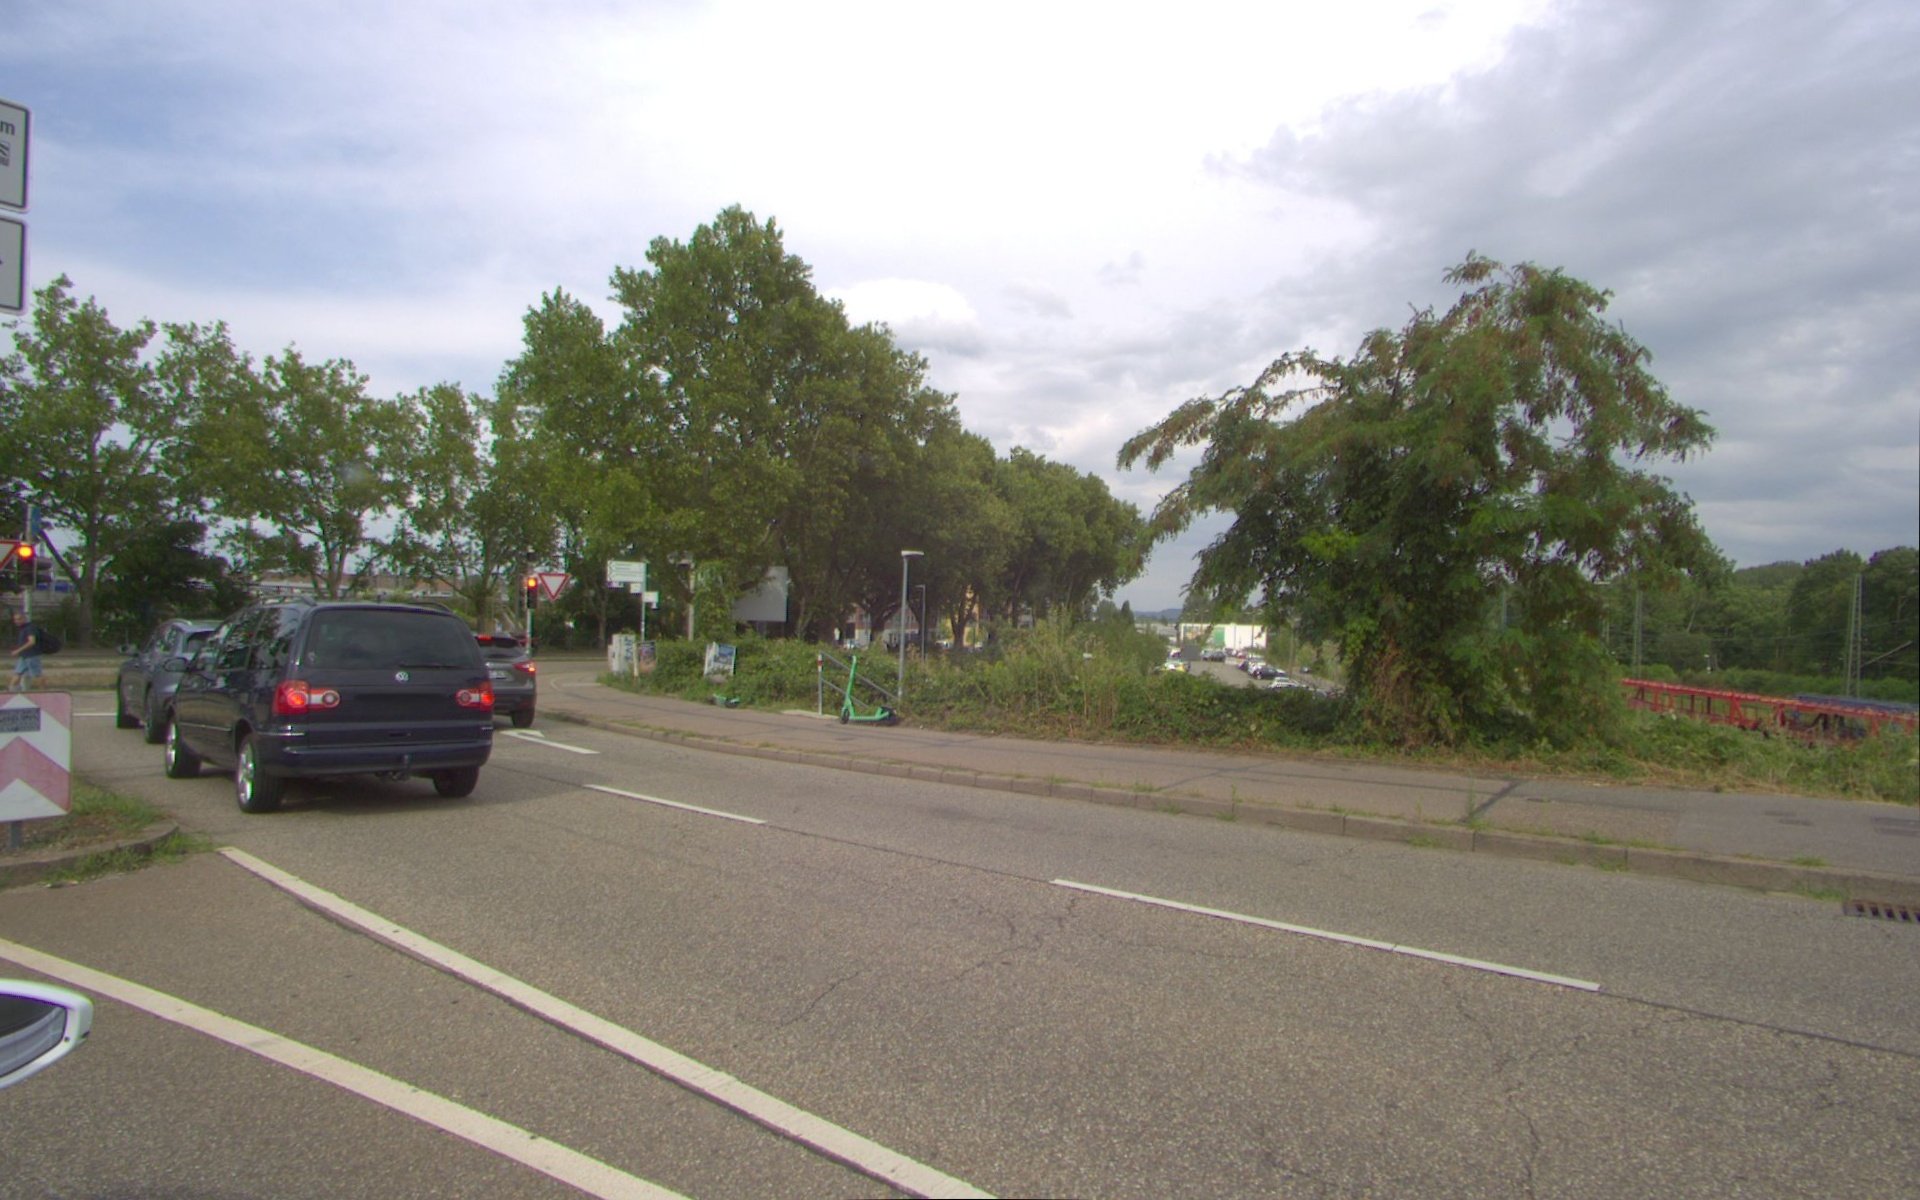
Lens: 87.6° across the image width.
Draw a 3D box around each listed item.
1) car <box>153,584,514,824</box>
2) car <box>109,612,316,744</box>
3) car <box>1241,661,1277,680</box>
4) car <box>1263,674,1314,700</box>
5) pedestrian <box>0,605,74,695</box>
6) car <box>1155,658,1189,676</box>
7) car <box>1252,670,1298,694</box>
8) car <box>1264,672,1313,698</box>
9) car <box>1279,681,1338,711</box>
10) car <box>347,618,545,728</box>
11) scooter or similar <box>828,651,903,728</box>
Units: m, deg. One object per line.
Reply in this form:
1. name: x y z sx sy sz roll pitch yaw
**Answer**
1. car: -5.970 0.849 9.348 4.092 1.746 1.743 -1 -4 42
2. car: -10.731 1.047 14.268 4.113 1.604 1.682 -2 -4 44
3. car: 35.736 8.413 119.751 3.923 2.040 1.762 1 -1 10
4. car: 28.644 7.583 87.343 3.923 2.040 1.762 1 -1 10
5. pedestrian: -18.306 0.980 19.833 1.039 1.732 0.846 3 -2 -40
6. car: 26.450 8.291 124.929 3.926 2.040 1.761 1 -1 16
7. car: 29.834 7.767 94.979 3.923 2.040 1.762 1 -1 10
8. car: 29.691 7.676 90.658 3.923 2.040 1.762 1 -1 10
9. car: 26.586 7.314 76.524 3.923 2.040 1.762 1 -1 10
10. car: -8.929 1.202 17.246 4.094 1.663 1.742 -2 -4 44
11. scooter or similar: -1.566 1.461 16.530 1.262 1.198 0.396 -1 -1 32
